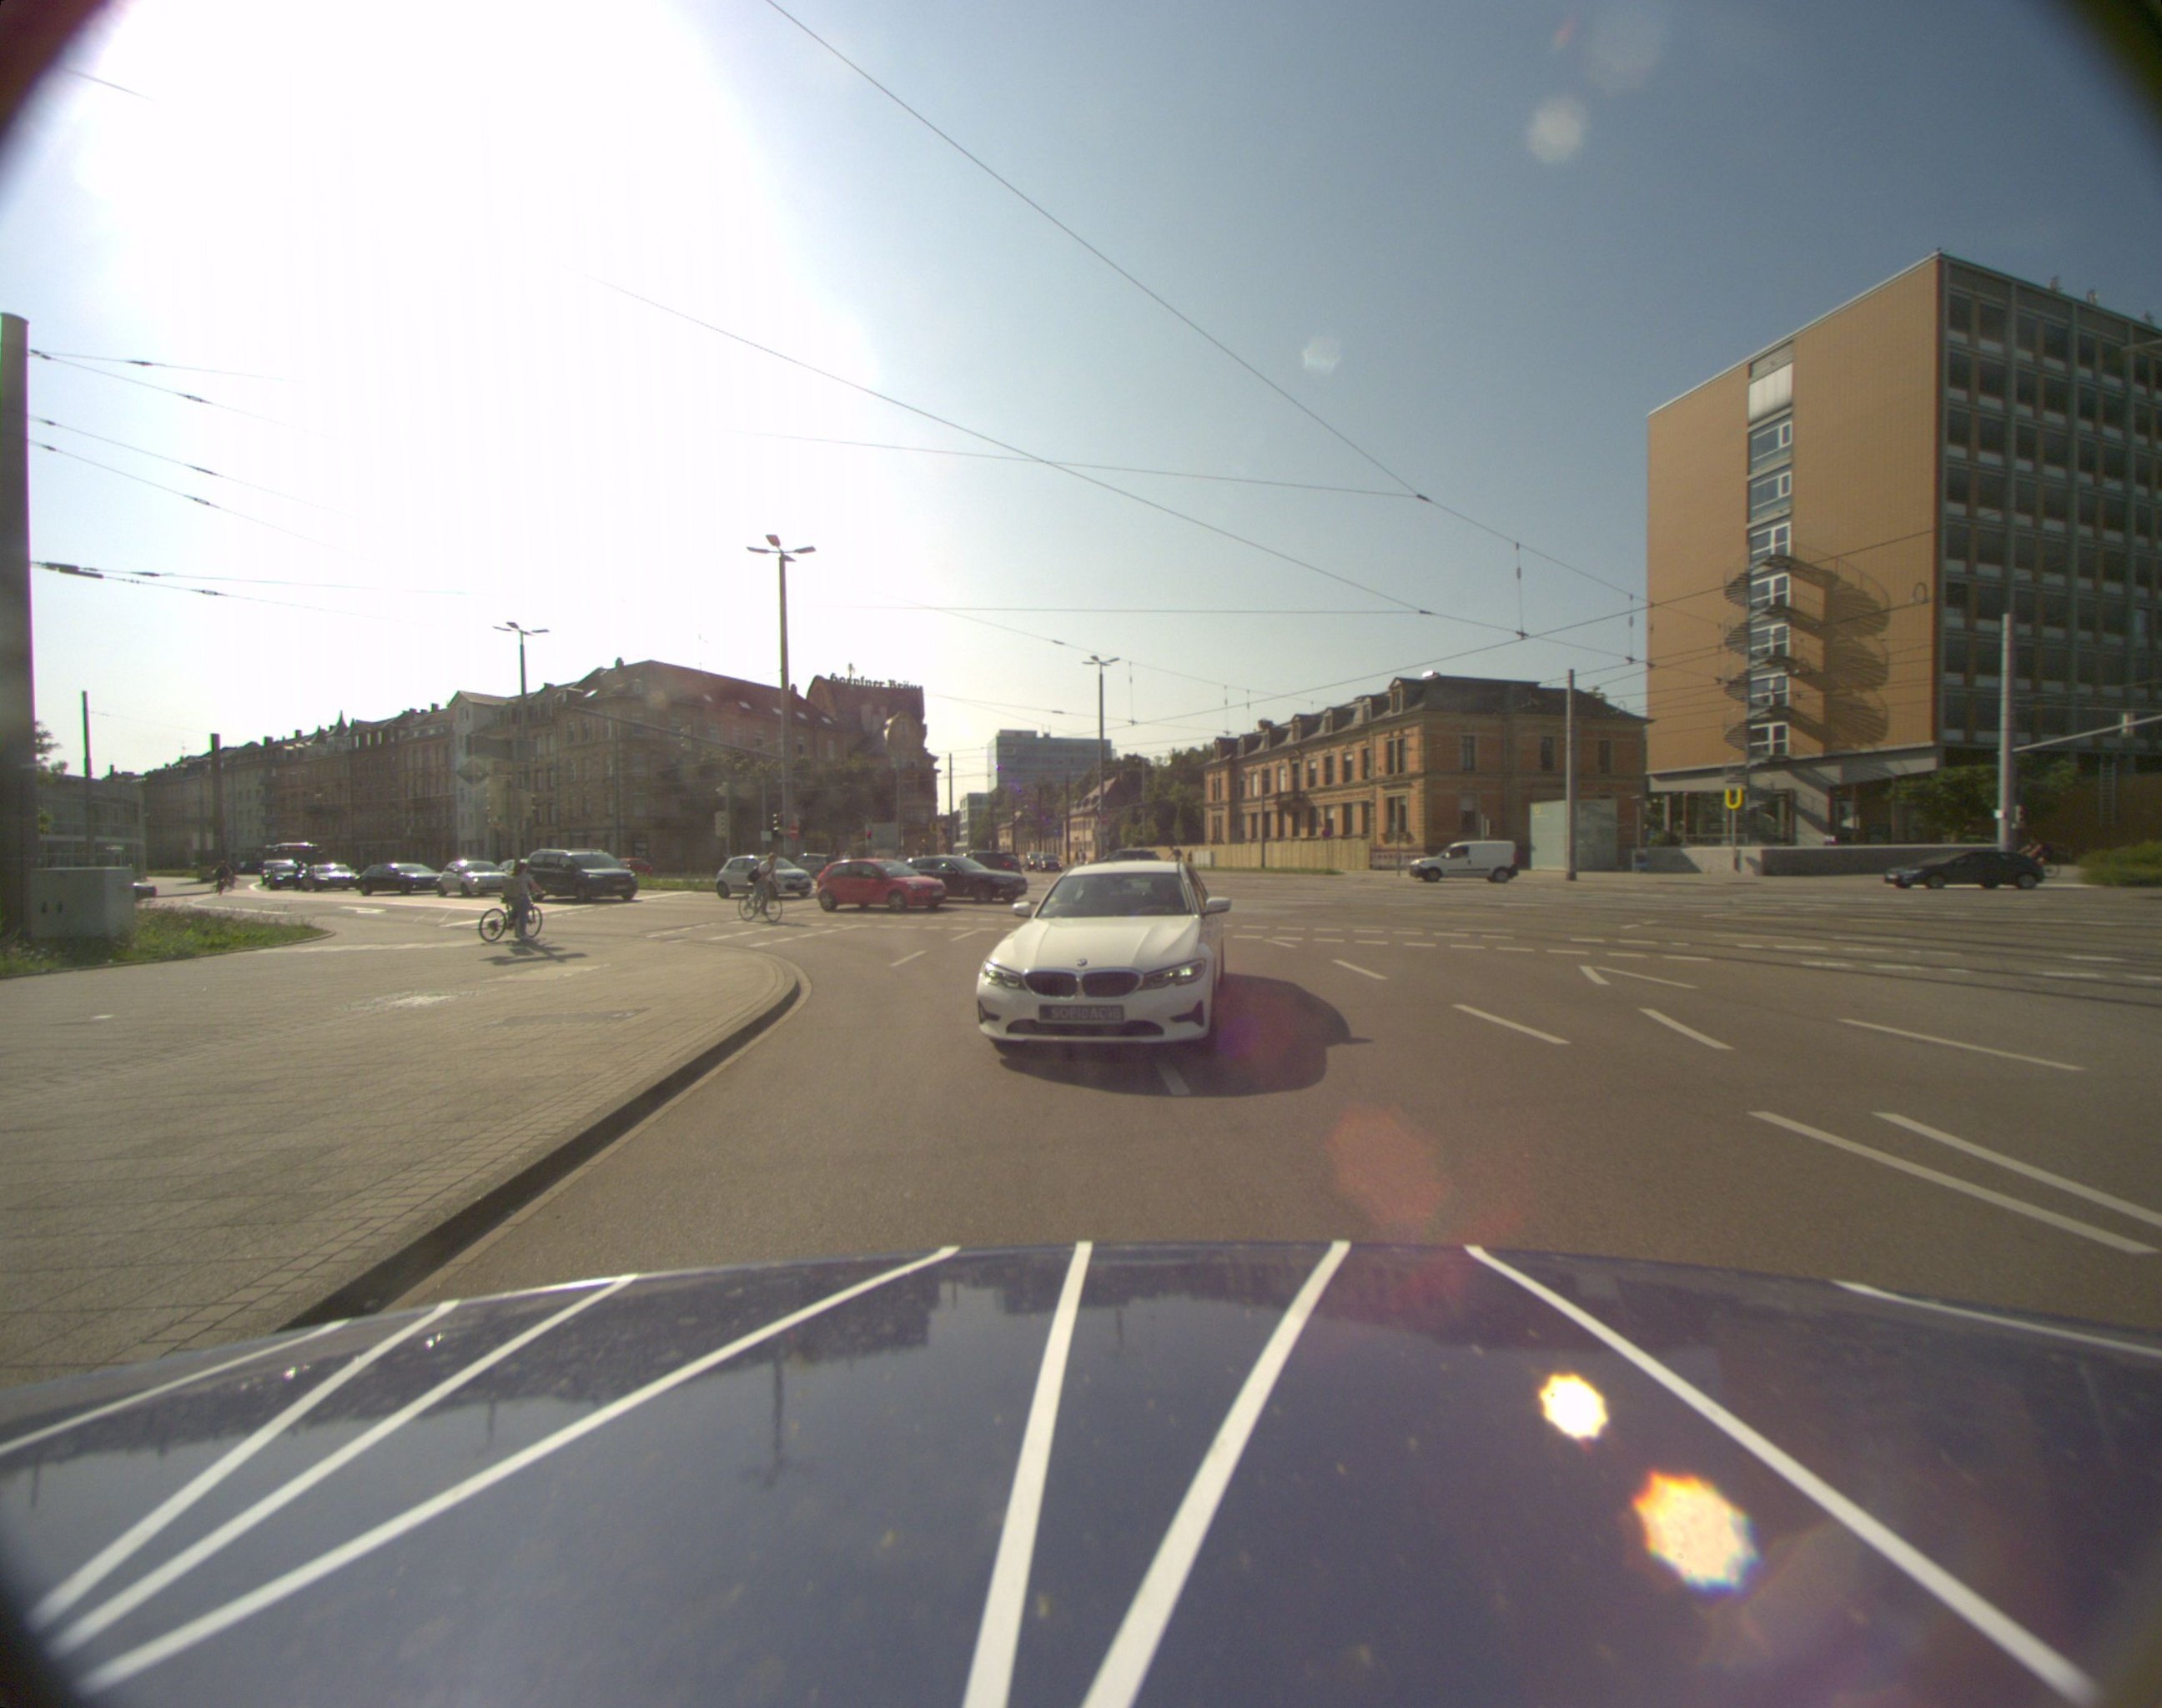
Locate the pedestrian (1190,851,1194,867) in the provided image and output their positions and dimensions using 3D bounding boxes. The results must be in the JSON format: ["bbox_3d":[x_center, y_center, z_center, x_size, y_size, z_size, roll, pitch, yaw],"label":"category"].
[{"bbox_3d":[10.304,0.485,70.779,0.237,1.522,0.326,-1,1,-15],"label":"pedestrian"}]

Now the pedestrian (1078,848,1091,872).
[{"bbox_3d":[0.229,0.423,52.841,0.793,1.677,0.661,-1,1,7],"label":"pedestrian"}]

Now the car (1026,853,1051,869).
[{"bbox_3d":[-3.692,0.582,65.584,1.694,1.319,3.996,-1,1,-11],"label":"car"}]

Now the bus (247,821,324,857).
[{"bbox_3d":[-70.018,-1.230,66.785,11.464,2.967,2.904,0,1,35],"label":"bus"}]

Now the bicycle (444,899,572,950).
[{"bbox_3d":[-11.480,1.383,15.322,0.566,0.888,2.079,-1,-2,20],"label":"bicycle"}]

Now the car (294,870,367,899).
[{"bbox_3d":[-40.637,1.606,41.141,3.621,1.433,1.806,0,1,28],"label":"car"}]

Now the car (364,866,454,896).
[{"bbox_3d":[-30.949,1.210,35.002,3.622,1.275,1.806,0,1,25],"label":"car"}]

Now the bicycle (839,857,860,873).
[{"bbox_3d":[-15.617,0.753,51.276,0.433,1.019,1.529,-1,0,22],"label":"bicycle"}]

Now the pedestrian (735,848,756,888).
[{"bbox_3d":[-14.485,0.608,32.819,0.596,1.720,0.526,-1,1,23],"label":"pedestrian"}]

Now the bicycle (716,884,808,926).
[{"bbox_3d":[-8.011,1.265,19.072,2.194,0.984,0.529,-1,2,13],"label":"bicycle"}]

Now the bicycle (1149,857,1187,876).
[{"bbox_3d":[5.198,0.722,45.204,2.184,1.089,0.529,-1,1,11],"label":"bicycle"}]

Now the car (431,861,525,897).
[{"bbox_3d":[-25.570,1.020,32.214,3.621,1.433,1.806,0,1,28],"label":"car"}]

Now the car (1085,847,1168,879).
[{"bbox_3d":[2.342,0.458,38.985,3.968,1.572,1.746,-1,0,17],"label":"car"}]

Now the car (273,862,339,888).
[{"bbox_3d":[-46.365,1.235,45.464,3.621,1.433,1.806,0,1,28],"label":"car"}]

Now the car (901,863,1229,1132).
[{"bbox_3d":[0.321,0.886,6.819,1.812,1.419,4.778,-3,0,12],"label":"car"}]

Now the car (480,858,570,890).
[{"bbox_3d":[-25.917,0.911,35.403,3.989,1.407,1.806,0,1,28],"label":"car"}]

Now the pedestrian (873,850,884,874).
[{"bbox_3d":[-13.850,0.577,52.002,0.523,1.631,0.506,-1,1,25],"label":"pedestrian"}]

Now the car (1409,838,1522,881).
[{"bbox_3d":[17.134,0.273,34.062,4.280,1.875,1.797,-1,-1,18],"label":"car"}]

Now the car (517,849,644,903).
[{"bbox_3d":[-18.357,0.757,27.826,4.760,1.817,1.806,0,1,28],"label":"car"}]

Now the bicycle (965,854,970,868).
[{"bbox_3d":[-9.480,0.582,63.259,0.401,1.084,1.927,-1,1,-8],"label":"bicycle"}]

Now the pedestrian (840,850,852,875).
[{"bbox_3d":[-16.365,0.594,52.905,0.622,1.716,0.506,-1,1,40],"label":"pedestrian"}]

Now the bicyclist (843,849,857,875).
[{"bbox_3d":[-15.598,0.538,51.267,0.646,1.707,0.588,-1,1,21],"label":"bicyclist"}]

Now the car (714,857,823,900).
[{"bbox_3d":[-11.392,0.852,27.680,3.547,1.427,1.806,0,1,28],"label":"car"}]

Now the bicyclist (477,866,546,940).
[{"bbox_3d":[-11.481,0.969,15.333,0.729,1.418,0.821,-1,0,20],"label":"bicyclist"}]

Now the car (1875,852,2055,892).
[{"bbox_3d":[33.641,0.682,29.065,4.281,1.456,1.676,-1,-1,15],"label":"car"}]

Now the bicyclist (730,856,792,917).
[{"bbox_3d":[-7.995,0.794,19.026,0.970,1.467,1.088,-1,1,12],"label":"bicyclist"}]

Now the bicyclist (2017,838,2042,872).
[{"bbox_3d":[41.498,0.028,33.242,0.548,1.471,0.397,-1,1,14],"label":"bicyclist"}]

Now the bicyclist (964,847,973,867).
[{"bbox_3d":[-9.366,0.236,63.208,0.663,1.627,0.917,-1,1,-9],"label":"bicyclist"}]

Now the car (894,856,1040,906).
[{"bbox_3d":[-3.631,0.797,24.043,4.339,1.443,1.806,0,1,28],"label":"car"}]

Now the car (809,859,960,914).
[{"bbox_3d":[-5.618,0.869,21.641,3.989,1.407,1.806,0,1,28],"label":"car"}]

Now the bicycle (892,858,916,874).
[{"bbox_3d":[-11.803,0.788,50.555,1.527,1.019,0.433,-1,1,-16],"label":"bicycle"}]

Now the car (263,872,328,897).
[{"bbox_3d":[-48.896,1.877,47.290,3.989,1.407,1.806,0,1,28],"label":"car"}]

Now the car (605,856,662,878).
[{"bbox_3d":[-29.503,0.841,50.066,3.770,1.439,1.680,-1,0,33],"label":"car"}]

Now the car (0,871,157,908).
[{"bbox_3d":[-43.007,1.479,32.464,1.994,1.362,4.407,0,1,40],"label":"car"}]

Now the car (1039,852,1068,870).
[{"bbox_3d":[-2.196,0.548,59.507,1.694,1.319,3.996,-1,1,-11],"label":"car"}]

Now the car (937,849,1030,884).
[{"bbox_3d":[-4.886,0.641,38.036,4.280,1.696,1.771,-1,-1,19],"label":"car"}]

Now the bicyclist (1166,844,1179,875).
[{"bbox_3d":[5.460,0.326,45.208,0.709,1.851,0.783,-1,1,10],"label":"bicyclist"}]

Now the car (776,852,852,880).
[{"bbox_3d":[-16.249,0.731,46.235,4.279,1.614,1.818,-1,0,24],"label":"car"}]

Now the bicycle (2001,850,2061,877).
[{"bbox_3d":[41.534,0.420,33.238,1.769,1.187,0.402,0,1,13],"label":"bicycle"}]

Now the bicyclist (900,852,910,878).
[{"bbox_3d":[-11.690,0.704,50.582,0.587,1.720,0.594,-1,1,-15],"label":"bicyclist"}]
